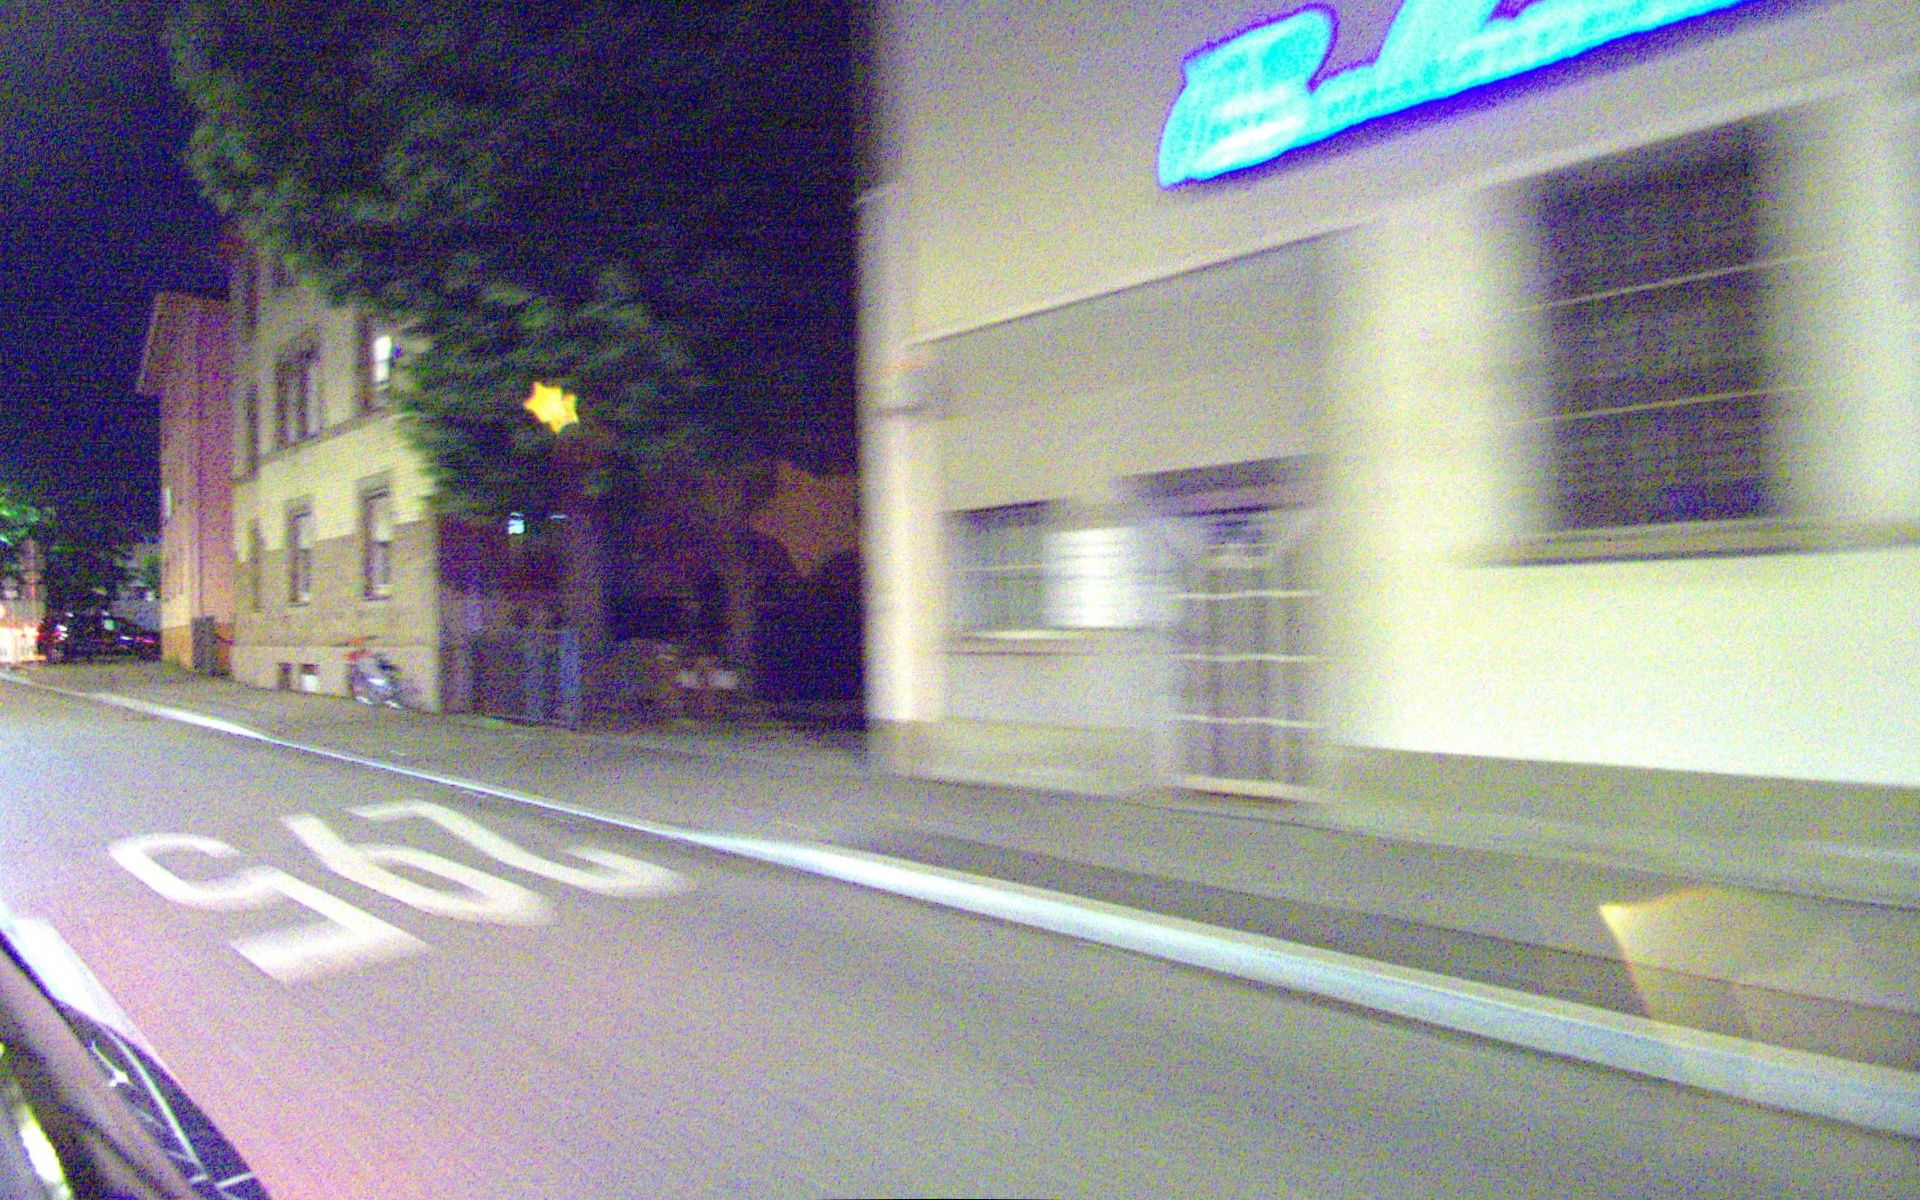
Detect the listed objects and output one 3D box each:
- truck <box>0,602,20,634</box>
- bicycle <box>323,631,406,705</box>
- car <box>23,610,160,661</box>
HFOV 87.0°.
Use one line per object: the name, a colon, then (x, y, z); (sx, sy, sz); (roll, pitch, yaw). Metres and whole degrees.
truck: (-113.021, 2.094, 117.040); (6.105, 3.722, 2.407); (0, -1, -37)
bicycle: (-9.184, 1.016, 15.585); (1.721, 1.059, 0.613); (-1, -1, 42)
car: (-34.128, 1.352, 39.916); (3.934, 1.903, 1.913); (0, -1, -37)
